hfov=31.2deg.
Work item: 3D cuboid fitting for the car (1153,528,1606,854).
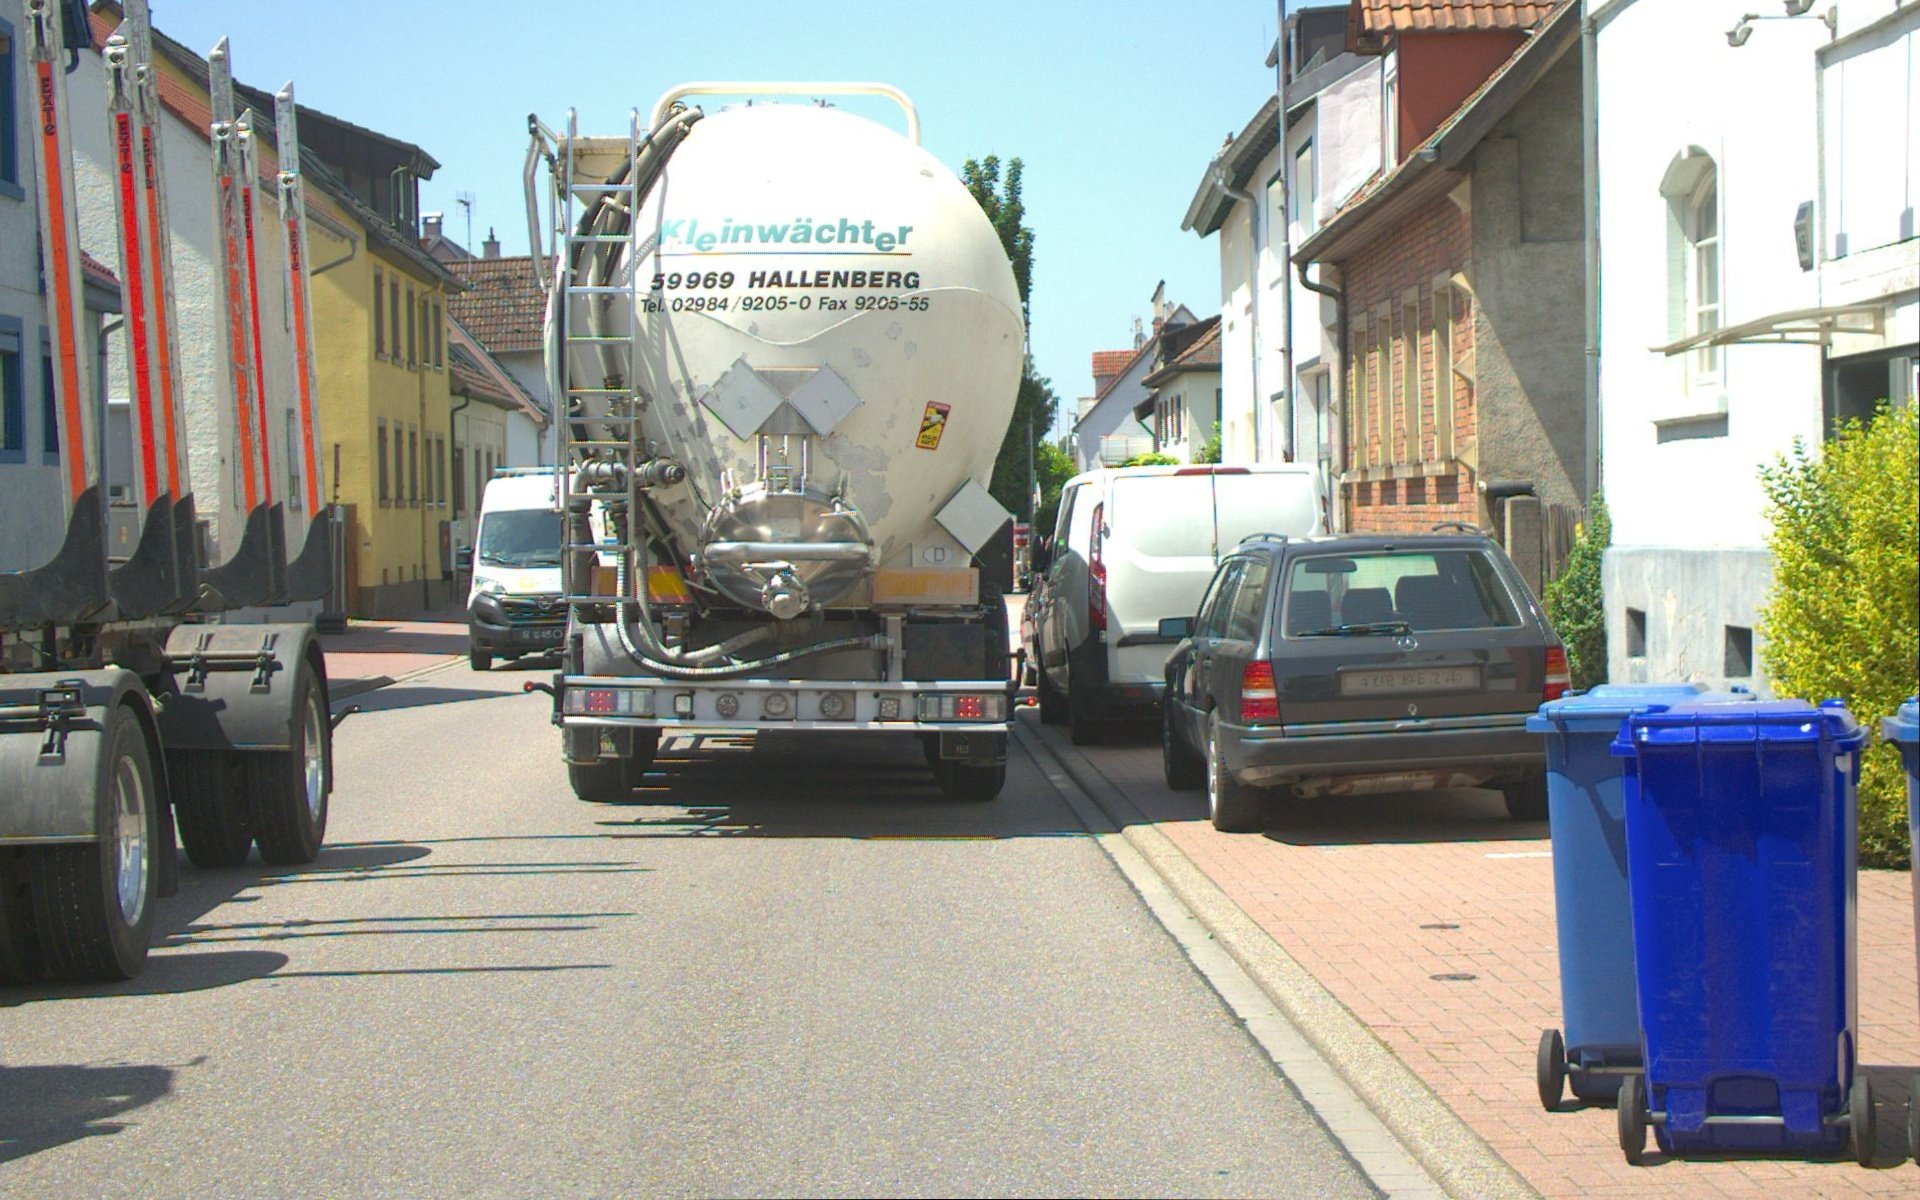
[{"bbox_3d":[2.071,0.372,18.198,1.770,1.461,4.578,-1,1,-1],"label":"car"}]

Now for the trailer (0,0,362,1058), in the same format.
[{"bbox_3d":[-4.117,-0.615,9.360,2.630,3.965,15.700,-2,1,-2],"label":"trailer"}]

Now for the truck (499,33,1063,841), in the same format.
[{"bbox_3d":[-1.027,-0.848,21.019,2.732,3.946,8.142,1,1,-2],"label":"truck"}]

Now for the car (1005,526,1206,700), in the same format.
[{"bbox_3d":[1.331,0.077,32.639,1.610,1.523,3.677,-1,1,-2],"label":"car"}]

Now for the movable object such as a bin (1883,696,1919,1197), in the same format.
[{"bbox_3d":[2.484,0.764,7.899,0.654,1.056,0.835,-2,1,15],"label":"movable object such as a bin"}]

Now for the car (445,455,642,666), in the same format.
[{"bbox_3d":[-5.375,-0.550,45.062,2.125,2.533,5.462,-2,1,-3],"label":"car"}]

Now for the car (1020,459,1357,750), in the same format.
[{"bbox_3d":[1.619,-0.023,26.060,1.946,1.963,4.786,-1,1,-3],"label":"car"}]

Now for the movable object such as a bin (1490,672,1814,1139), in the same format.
[{"bbox_3d":[1.788,0.755,8.791,0.722,1.069,0.971,-2,1,15],"label":"movable object such as a bin"}]

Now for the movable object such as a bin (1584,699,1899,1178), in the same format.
[{"bbox_3d":[1.846,0.778,8.086,0.656,1.031,0.684,-2,1,15],"label":"movable object such as a bin"}]
